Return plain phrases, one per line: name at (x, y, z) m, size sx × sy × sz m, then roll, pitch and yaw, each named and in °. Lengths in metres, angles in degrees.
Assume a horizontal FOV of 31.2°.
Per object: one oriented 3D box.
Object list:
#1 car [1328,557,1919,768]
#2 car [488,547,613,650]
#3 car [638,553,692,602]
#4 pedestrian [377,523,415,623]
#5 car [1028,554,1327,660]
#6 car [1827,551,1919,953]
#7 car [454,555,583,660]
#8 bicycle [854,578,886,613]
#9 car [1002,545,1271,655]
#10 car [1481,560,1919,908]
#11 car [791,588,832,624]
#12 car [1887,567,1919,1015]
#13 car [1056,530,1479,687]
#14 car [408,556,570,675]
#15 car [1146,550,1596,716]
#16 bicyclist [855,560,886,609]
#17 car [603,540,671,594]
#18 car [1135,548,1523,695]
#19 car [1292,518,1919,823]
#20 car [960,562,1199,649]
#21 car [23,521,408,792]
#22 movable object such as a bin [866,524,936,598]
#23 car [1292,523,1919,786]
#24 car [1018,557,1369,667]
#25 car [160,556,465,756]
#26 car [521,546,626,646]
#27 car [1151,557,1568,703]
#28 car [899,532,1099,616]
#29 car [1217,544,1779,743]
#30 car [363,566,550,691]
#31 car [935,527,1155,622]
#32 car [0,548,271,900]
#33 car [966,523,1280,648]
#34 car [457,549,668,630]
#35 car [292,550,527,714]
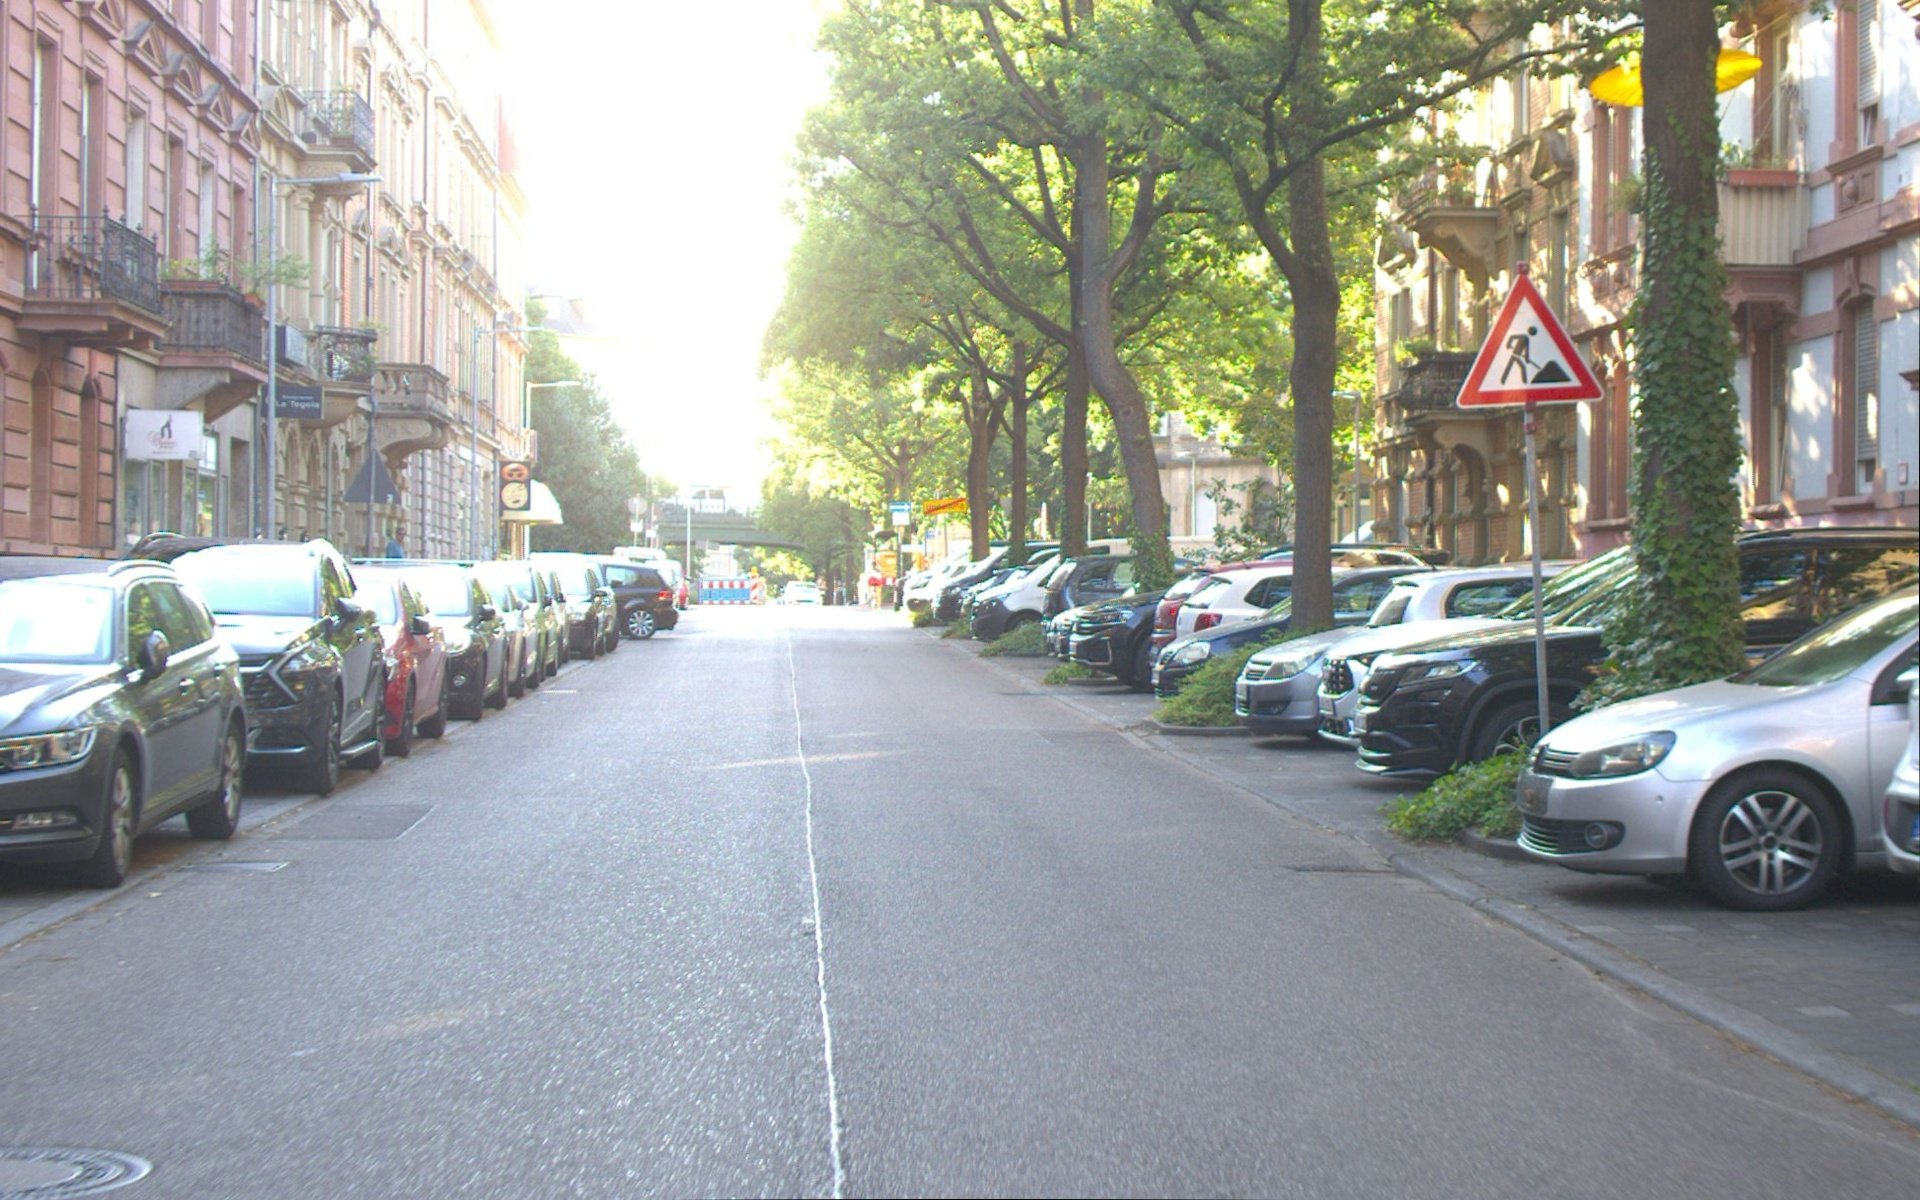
car at (4.943, 0.445, 25.832) m, size 4.100 × 1.464 × 1.801 m, roll 1°, pitch 1°, yaw -1°
car at (-6.435, -0.052, 54.397) m, size 1.647 × 1.468 × 4.001 m, roll 3°, pitch 1°, yaw -3°
car at (-9.463, -0.725, 110.162) m, size 1.669 × 1.525 × 4.001 m, roll 1°, pitch 0°, yaw -5°
pedestrian at (-10.707, -0.519, 65.257) m, size 0.638 × 1.881 × 0.592 m, roll 0°, pitch 1°, yaw -17°
car at (3.175, 0.095, 50.544) m, size 4.104 × 1.498 × 1.811 m, roll 0°, pitch 1°, yaw -7°
car at (5.535, 0.581, 13.060) m, size 3.986 × 1.490 × 1.687 m, roll 1°, pitch 1°, yaw -5°
car at (-6.409, 0.077, 50.191) m, size 1.581 × 1.468 × 4.001 m, roll 0°, pitch 1°, yaw -3°
bicycle at (-2.541, -0.132, 97.371) m, size 0.803 × 0.965 × 2.109 m, roll 2°, pitch 0°, yaw -3°
car at (2.706, -0.006, 53.139) m, size 3.883 × 1.643 × 1.725 m, roll 0°, pitch 1°, yaw -7°
car at (4.485, 0.571, 15.414) m, size 3.986 × 1.451 × 1.687 m, roll 1°, pitch 1°, yaw -2°
car at (-6.466, 0.251, 149.545) m, size 1.749 × 1.504 × 4.001 m, roll 1°, pitch 1°, yaw -3°
car at (5.214, 0.589, 10.550) m, size 4.144 × 1.450 × 1.937 m, roll -1°, pitch 1°, yaw -4°
car at (3.580, 0.084, 40.445) m, size 4.643 × 1.697 × 1.882 m, roll -1°, pitch 1°, yaw -6°
car at (-5.970, 0.164, 43.911) m, size 1.705 × 1.434 × 3.959 m, roll 0°, pitch 1°, yaw -3°
car at (3.884, 0.293, 32.840) m, size 3.986 × 1.383 × 1.678 m, roll -2°, pitch 1°, yaw -3°
bicyclist at (-2.525, -0.441, 97.270) m, size 0.803 × 1.379 × 0.985 m, roll 2°, pitch 0°, yaw -4°
car at (-8.872, -0.923, 94.617) m, size 1.764 × 1.432 × 4.301 m, roll 1°, pitch 1°, yaw -4°
car at (4.053, 0.228, 38.161) m, size 3.986 × 1.585 × 1.783 m, roll 0°, pitch 1°, yaw -6°
car at (4.282, 0.412, 20.008) m, size 4.475 × 1.650 × 1.891 m, roll 1°, pitch -1°, yaw -1°
car at (2.122, 0.081, 61.666) m, size 3.986 × 1.469 × 1.782 m, roll -1°, pitch 1°, yaw -10°
car at (-4.903, 0.316, 23.207) m, size 1.821 × 1.595 × 4.314 m, roll 2°, pitch 1°, yaw -3°
movable object such as a bin at (-2.169, -1.451, 128.133) m, size 1.994 × 2.690 × 3.109 m, roll 1°, pitch 0°, yaw 10°
car at (4.616, 0.370, 23.130) m, size 4.475 × 1.650 × 1.892 m, roll 1°, pitch -1°, yaw -4°
car at (3.252, 0.155, 48.431) m, size 4.658 × 1.498 × 1.932 m, roll 0°, pitch 1°, yaw -6°
car at (-5.146, 0.394, 27.829) m, size 1.821 × 1.421 × 4.314 m, roll 2°, pitch 1°, yaw -3°
car at (-6.696, -0.102, 59.331) m, size 1.647 × 1.569 × 4.050 m, roll 3°, pitch 1°, yaw -7°
car at (4.088, 0.296, 35.564) m, size 3.986 × 1.457 × 1.783 m, roll 0°, pitch 1°, yaw -6°
car at (0.978, -0.664, 88.046) m, size 4.973 × 2.089 × 2.106 m, roll 1°, pitch 1°, yaw -3°
car at (4.364, 0.337, 28.266) m, size 4.221 × 1.530 × 1.801 m, roll 1°, pitch 1°, yaw -6°
car at (-5.688, 0.290, 39.240) m, size 1.705 × 1.318 × 4.101 m, roll 0°, pitch 1°, yaw -3°
car at (1.833, -0.564, 75.152) m, size 4.614 × 2.007 × 2.000 m, roll 0°, pitch 1°, yaw -5°
car at (-4.656, 0.489, 16.692) m, size 1.862 × 1.467 × 4.489 m, roll 1°, pitch 1°, yaw -2°
car at (2.693, -0.221, 57.848) m, size 5.091 × 1.933 × 2.158 m, roll 1°, pitch -3°, yaw -2°
car at (-7.678, -0.206, 66.292) m, size 3.986 × 1.524 × 1.826 m, roll 0°, pitch 1°, yaw -8°
car at (-5.425, 0.273, 34.370) m, size 1.821 × 1.472 × 4.424 m, roll 2°, pitch 1°, yaw -3°
